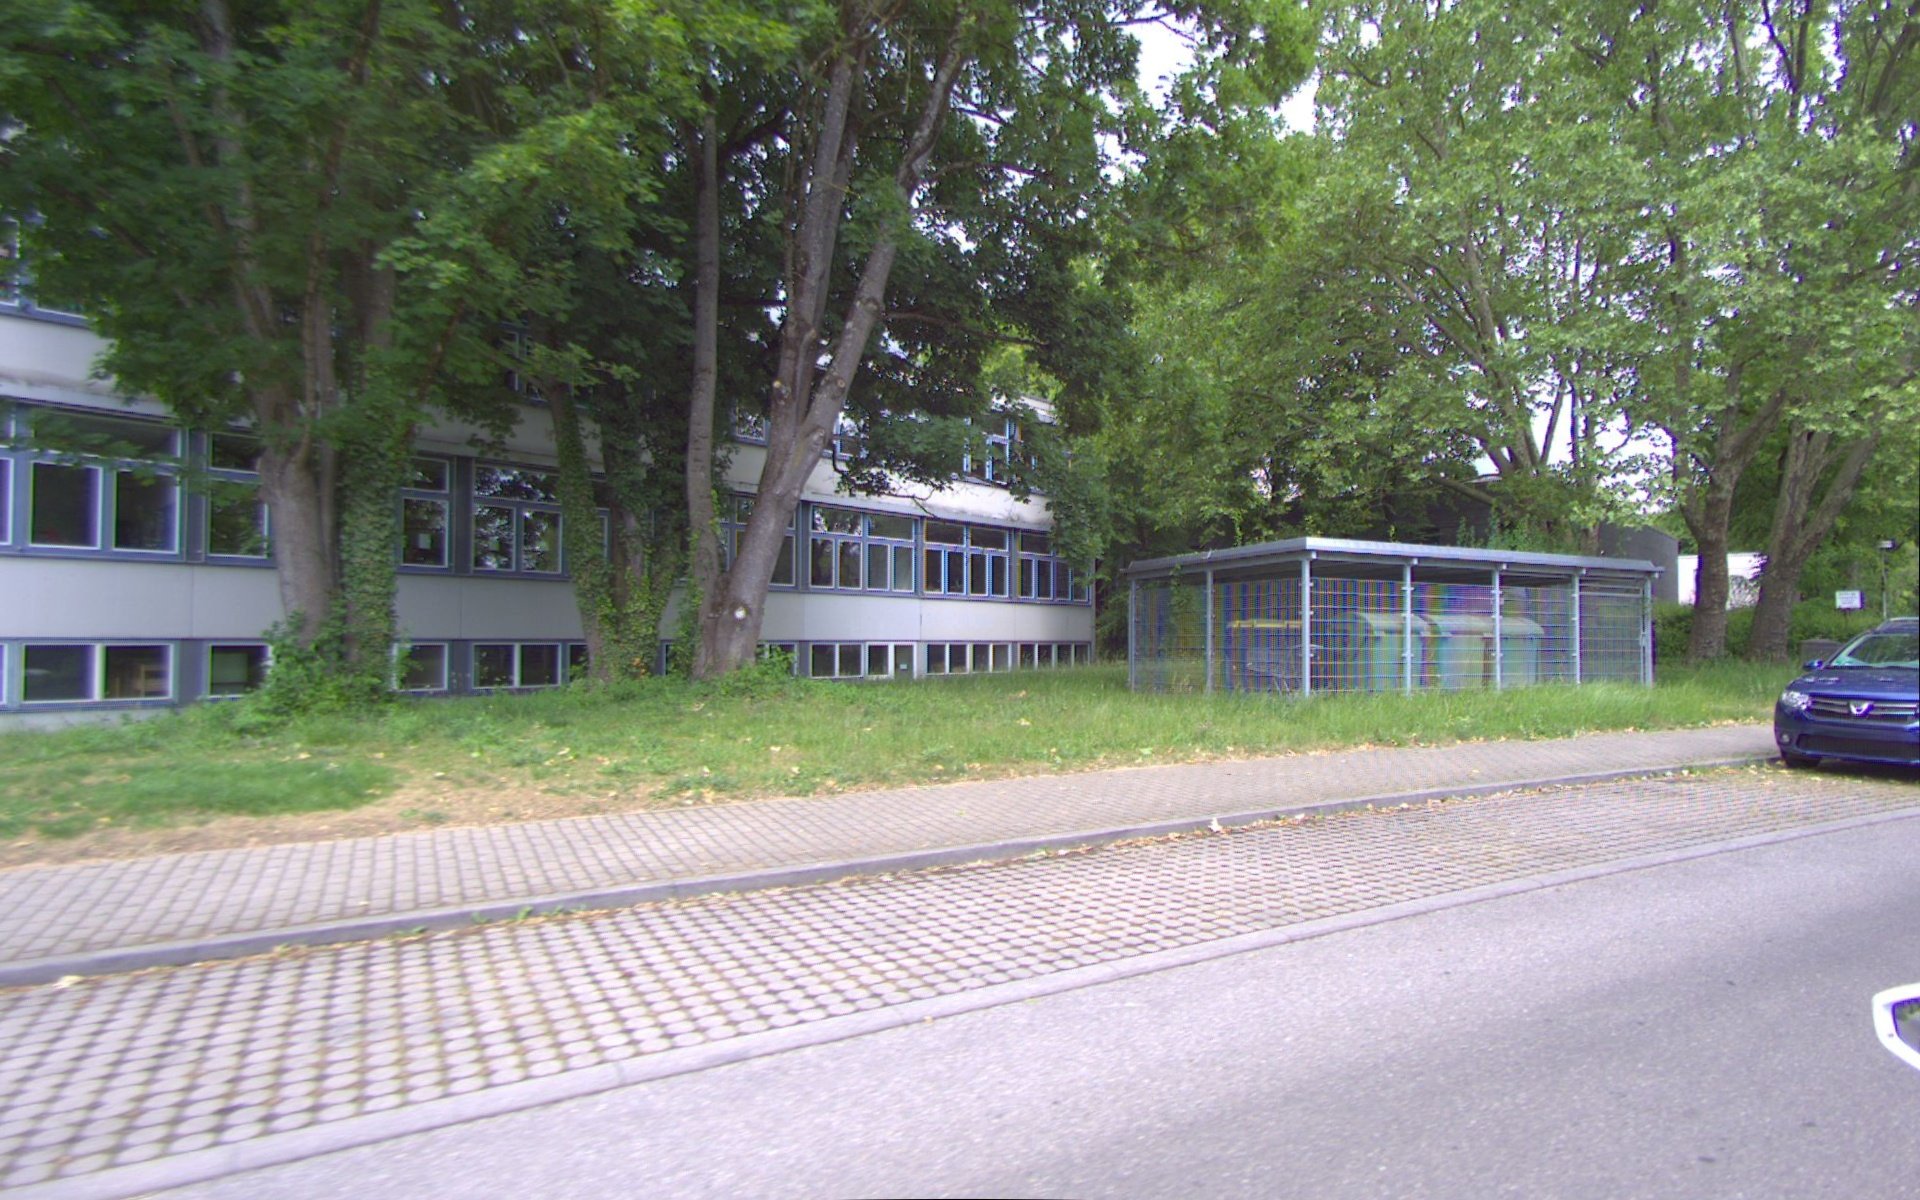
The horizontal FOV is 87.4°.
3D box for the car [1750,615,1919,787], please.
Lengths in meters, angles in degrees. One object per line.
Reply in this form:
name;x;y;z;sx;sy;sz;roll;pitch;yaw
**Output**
car;10.261;0.943;10.409;4.376;1.531;1.673;1;-1;-28
